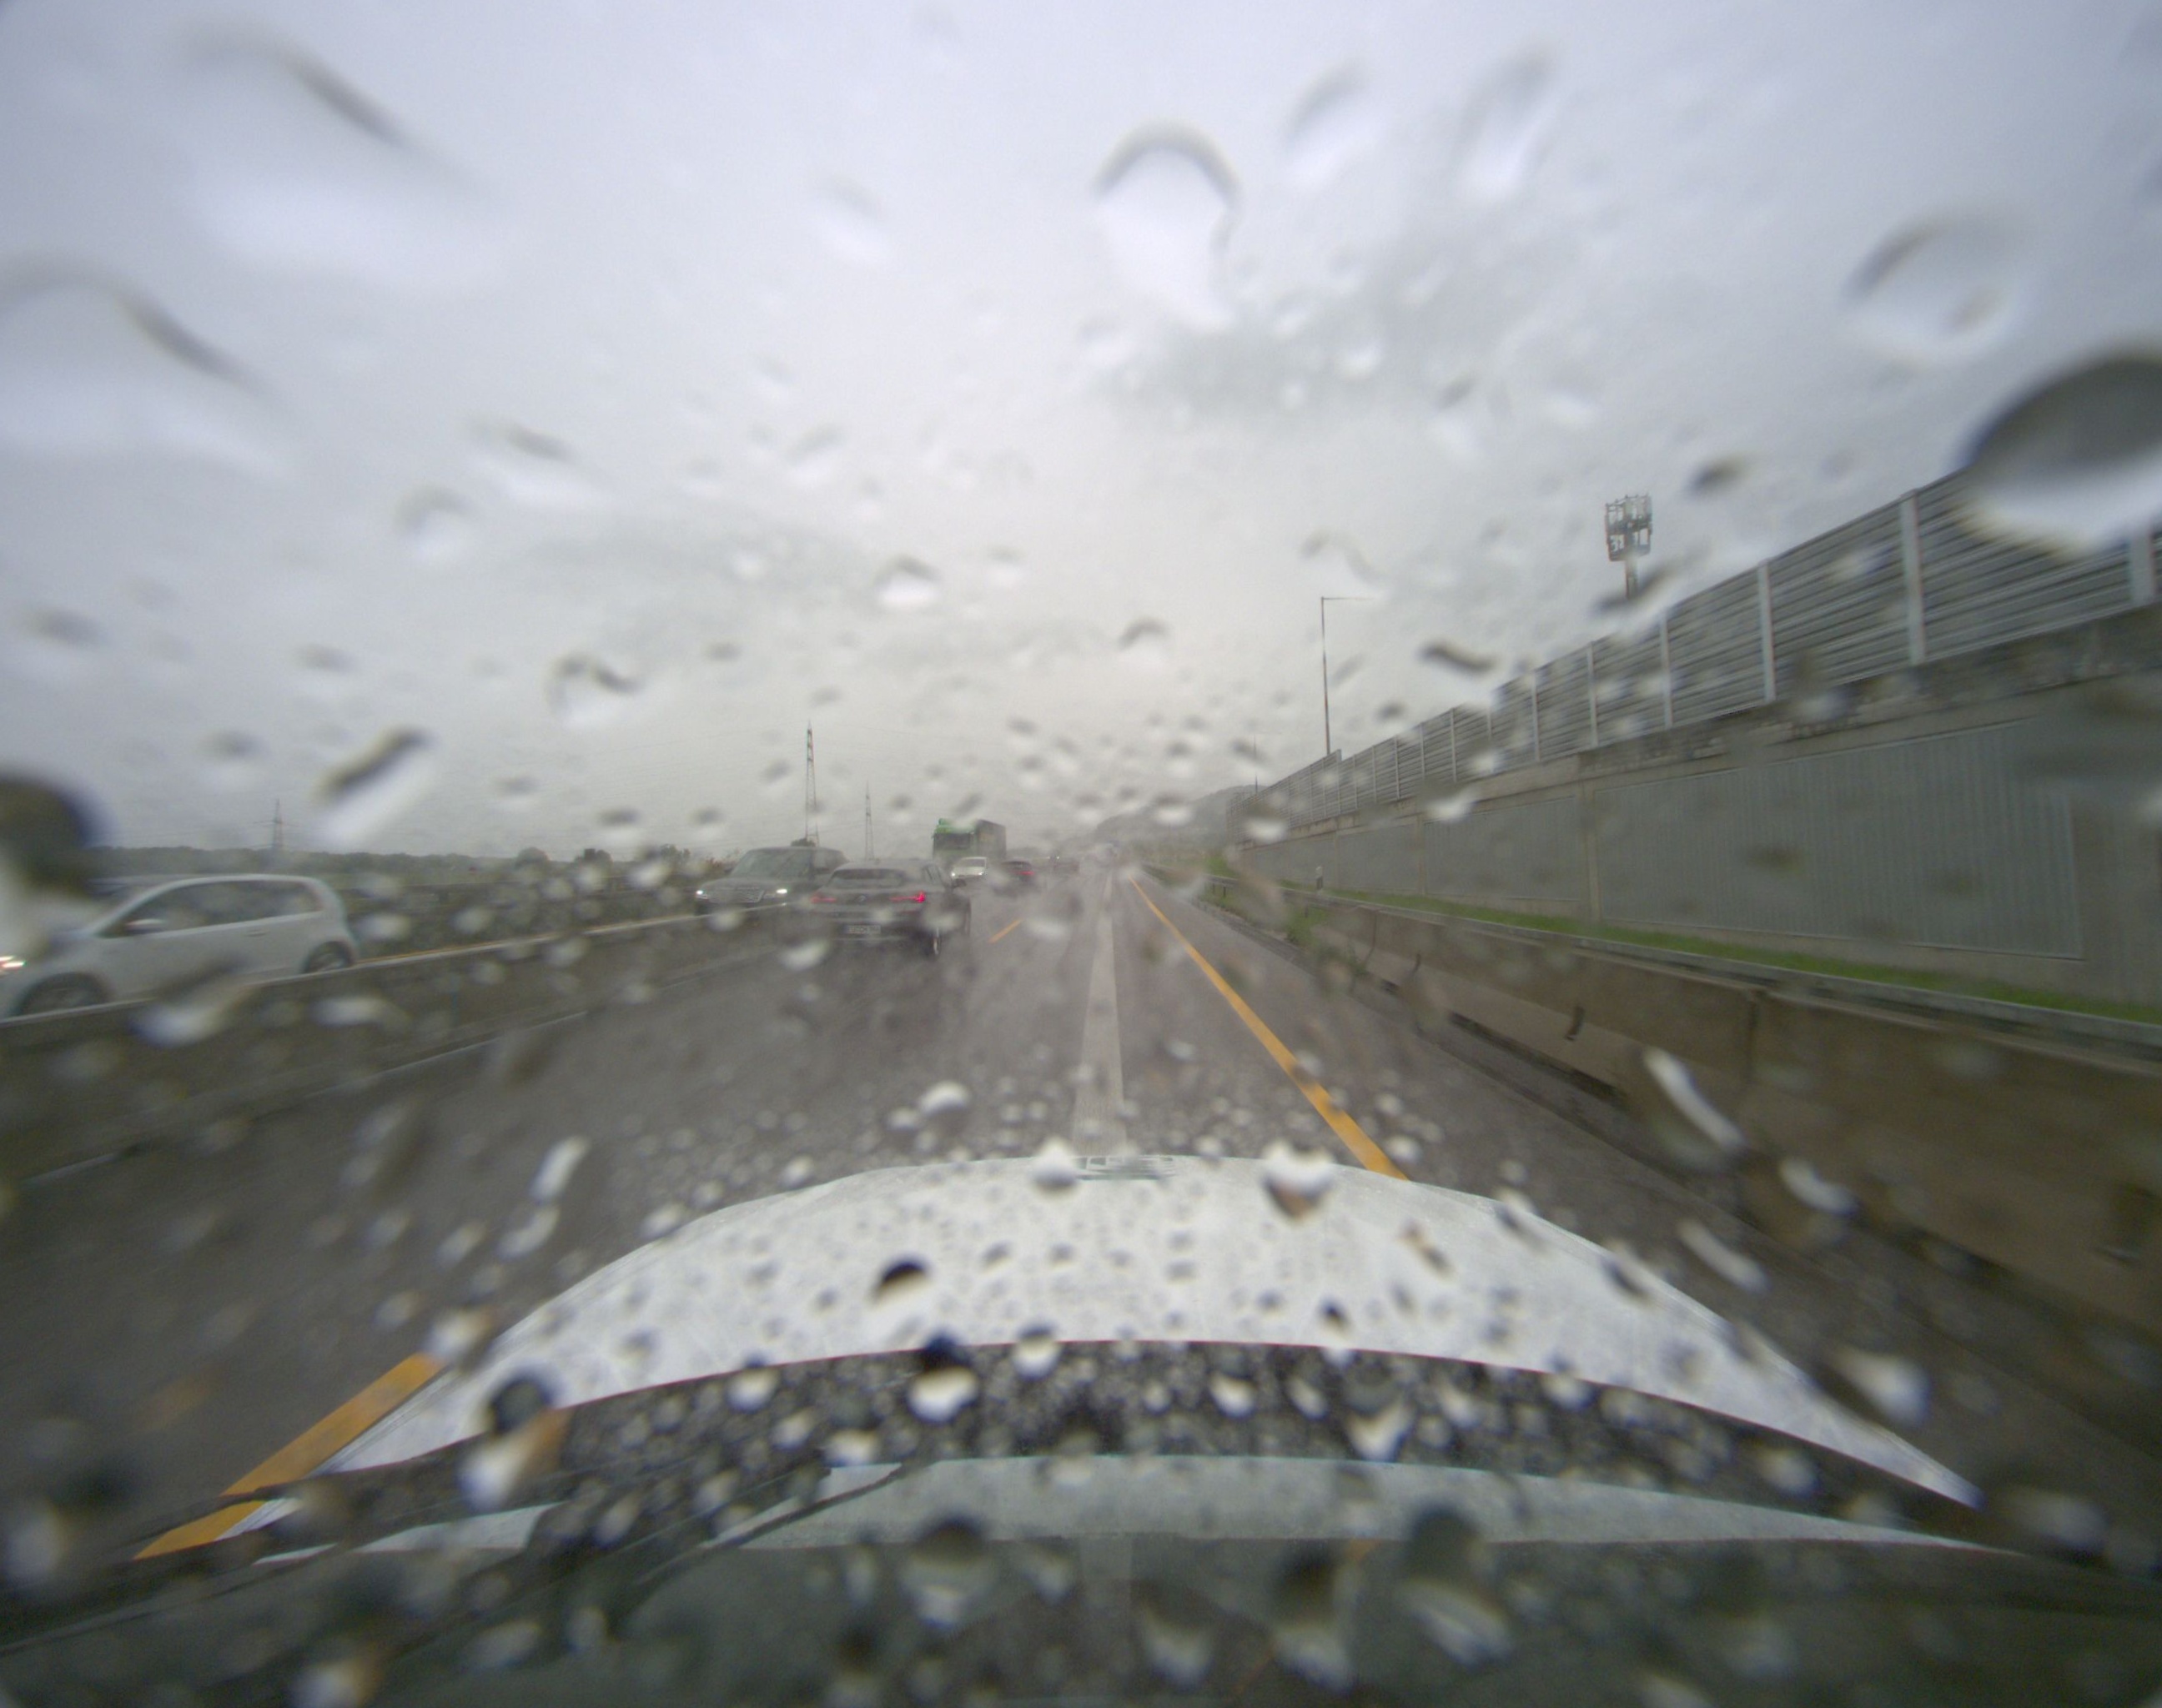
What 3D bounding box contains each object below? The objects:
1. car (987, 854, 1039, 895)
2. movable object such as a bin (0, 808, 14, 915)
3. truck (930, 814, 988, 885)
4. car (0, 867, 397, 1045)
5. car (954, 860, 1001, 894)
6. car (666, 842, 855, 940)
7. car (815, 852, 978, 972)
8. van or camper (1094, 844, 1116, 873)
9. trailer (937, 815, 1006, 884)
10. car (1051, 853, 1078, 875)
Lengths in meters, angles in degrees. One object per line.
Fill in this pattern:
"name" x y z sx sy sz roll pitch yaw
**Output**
"car" -2.632 0.818 32.328 1.839 1.491 4.258 0 -2 -2
"movable object such as a bin" -41.324 0.186 26.151 2.719 3.920 8.465 -1 -2 1
"truck" -7.911 -0.266 53.402 2.598 4.388 6.293 -1 0 2
"car" -9.724 0.896 8.652 1.564 1.436 3.894 -1 0 1
"car" -5.201 1.156 41.324 1.694 1.598 4.322 -1 -2 2
"car" -6.307 0.656 16.731 1.891 1.687 4.741 -1 0 1
"car" -2.795 0.836 13.411 1.696 1.598 4.841 0 -1 -2
"van or camper" 2.324 0.465 79.974 1.991 2.778 4.046 0 -2 -2
"trailer" -7.670 -0.285 59.211 2.571 4.457 13.560 -1 0 2
"car" -1.230 0.724 59.656 1.839 1.491 4.258 -3 0 -2
